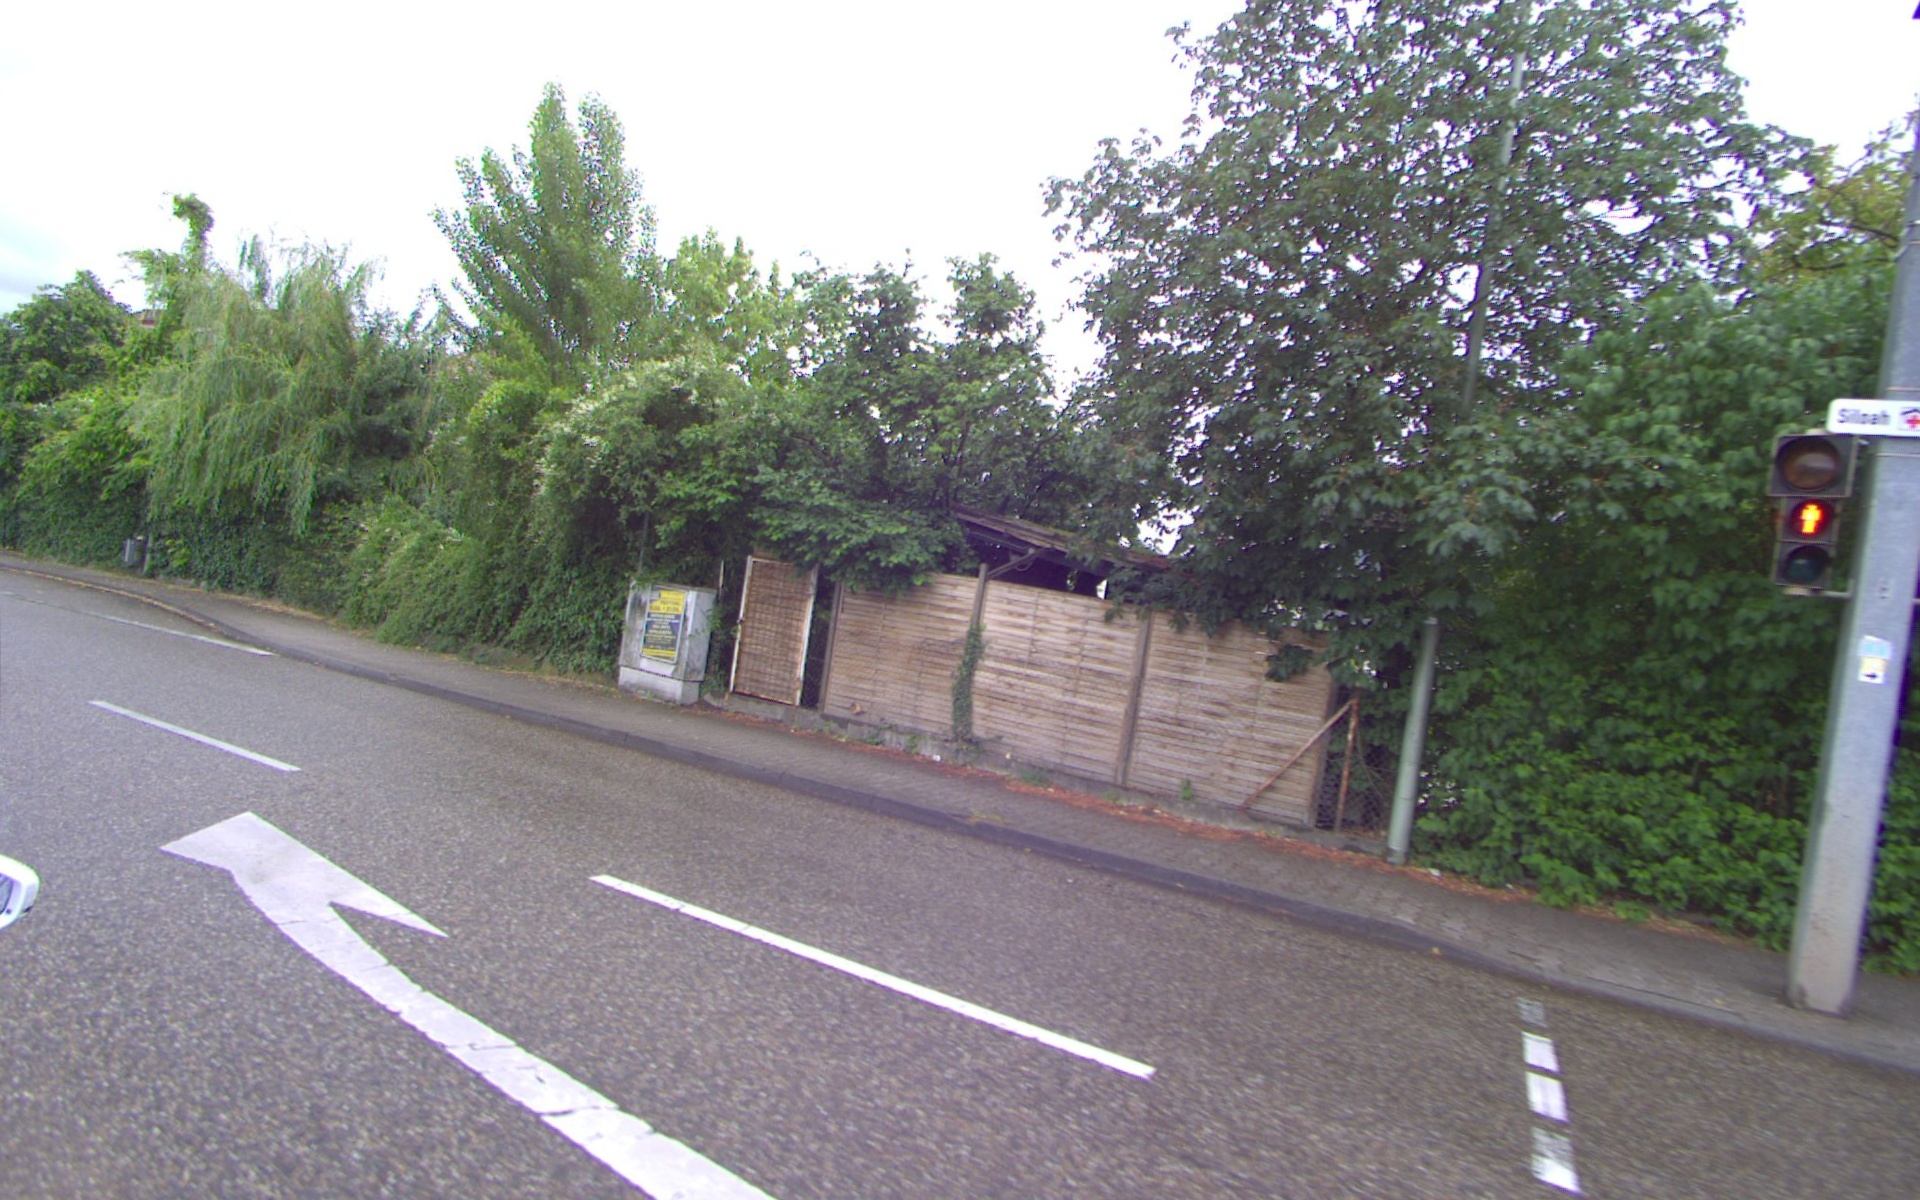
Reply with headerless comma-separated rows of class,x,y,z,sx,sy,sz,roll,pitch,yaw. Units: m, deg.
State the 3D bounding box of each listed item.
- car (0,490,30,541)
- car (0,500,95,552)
car,-36.232,-3.299,36.180,1.678,1.767,3.636,7,-1,28
car,-31.642,-2.549,33.621,1.698,1.412,3.724,6,-1,24
